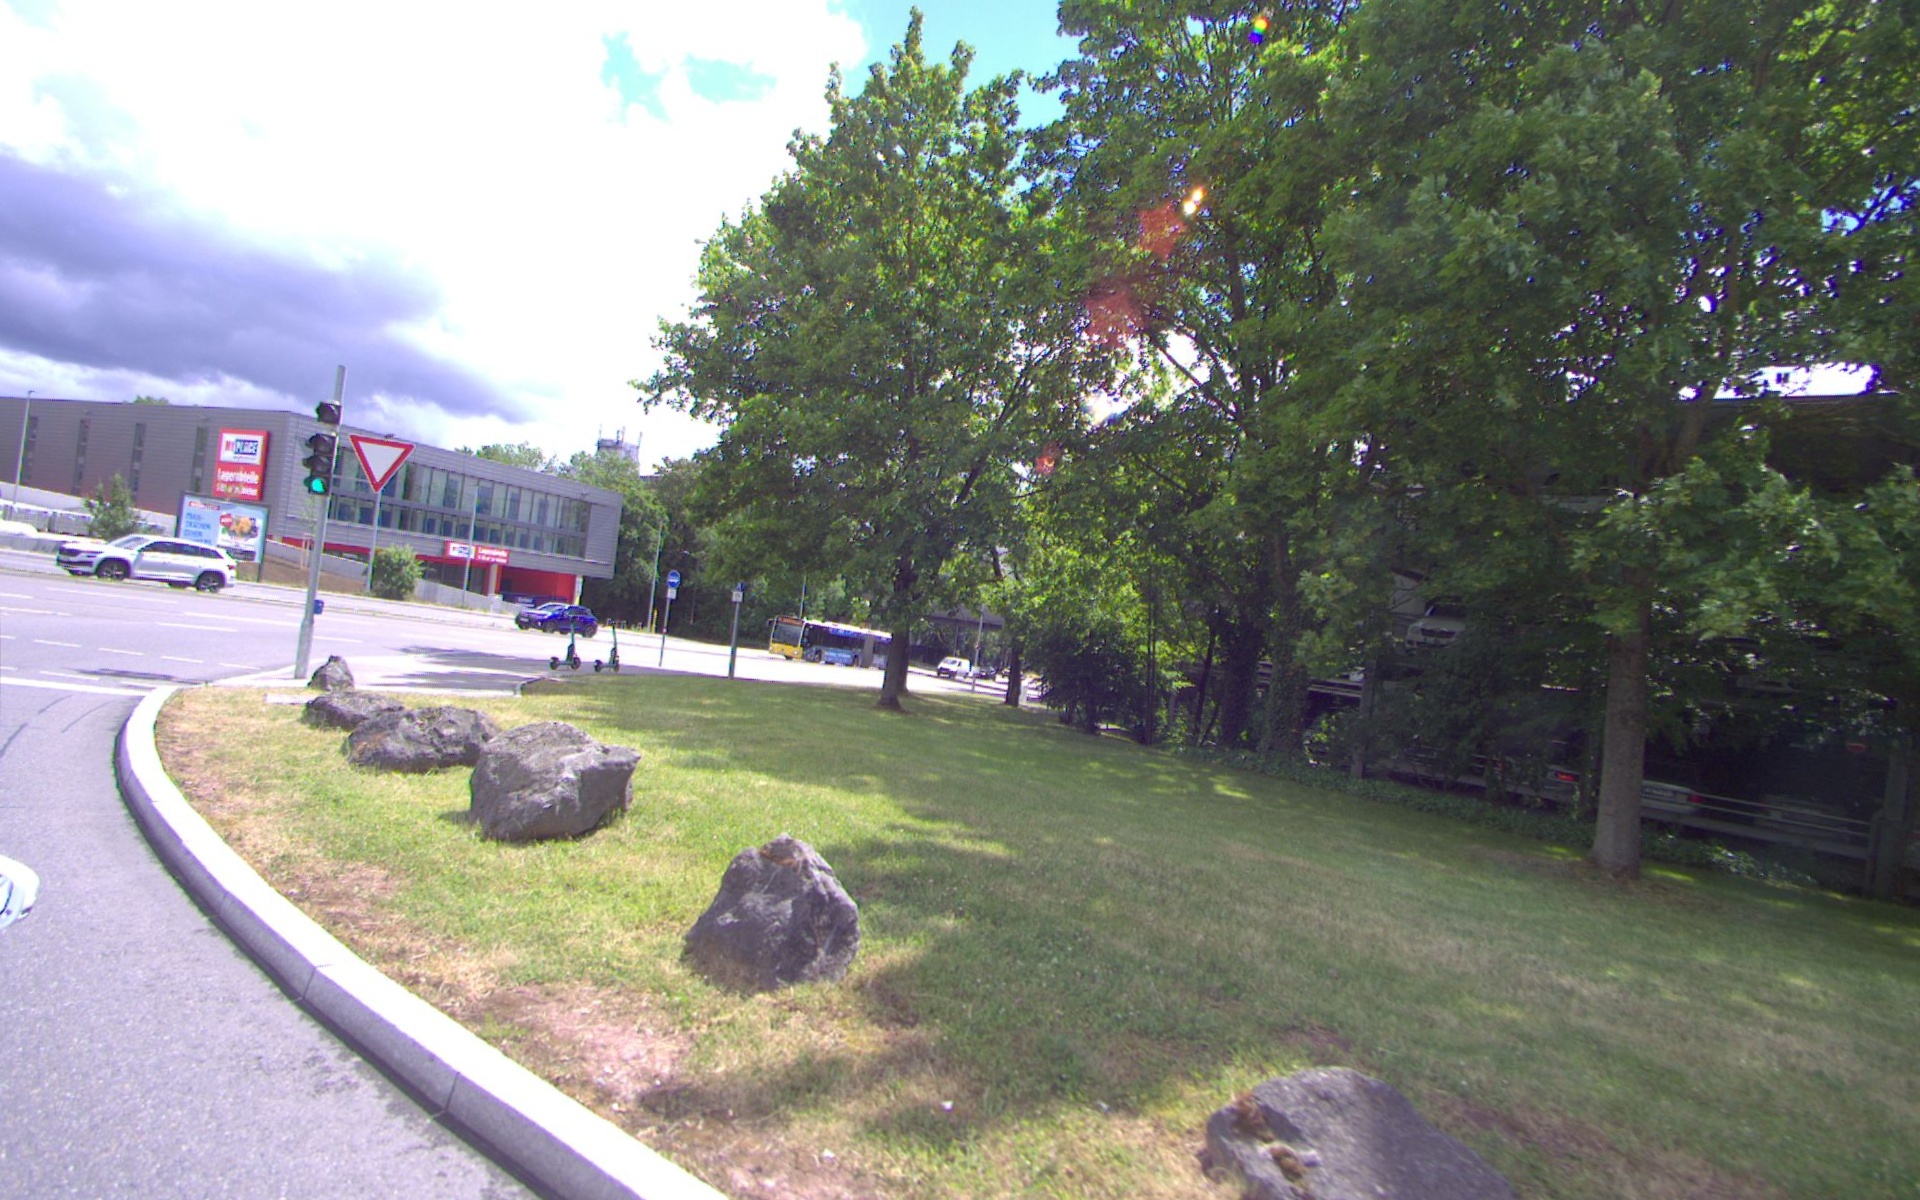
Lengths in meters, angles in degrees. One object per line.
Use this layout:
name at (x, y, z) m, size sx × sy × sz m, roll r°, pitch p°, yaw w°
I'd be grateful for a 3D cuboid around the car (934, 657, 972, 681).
car at (-0.661, 6.793, 98.973) m, size 1.849 × 1.945 × 4.756 m, roll 8°, pitch -3°, yaw 22°

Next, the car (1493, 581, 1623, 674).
car at (13.652, 0.662, 22.869) m, size 1.703 × 1.560 × 3.688 m, roll 10°, pitch 1°, yaw 42°

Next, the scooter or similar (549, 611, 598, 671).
scooter or similar at (-8.799, 0.951, 22.954) m, size 0.524 × 1.278 × 1.191 m, roll 7°, pitch -3°, yaw -1°

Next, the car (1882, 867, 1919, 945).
car at (25.670, 8.175, 26.604) m, size 1.616 × 1.388 × 3.766 m, roll 8°, pitch 0°, yaw 41°

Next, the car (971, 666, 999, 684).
car at (2.677, 8.029, 107.794) m, size 1.612 × 1.487 × 3.780 m, roll 8°, pitch -3°, yaw 22°

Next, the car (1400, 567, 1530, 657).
car at (12.178, 0.327, 24.146) m, size 1.703 × 1.560 × 3.688 m, roll 10°, pitch 1°, yaw 42°

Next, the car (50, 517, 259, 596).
car at (-25.728, -1.325, 32.387) m, size 1.701 × 1.676 × 4.908 m, roll 8°, pitch -3°, yaw 21°

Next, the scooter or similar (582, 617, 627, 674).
scooter or similar at (-8.567, 1.106, 24.270) m, size 0.524 × 1.278 × 1.191 m, roll 7°, pitch -3°, yaw -1°

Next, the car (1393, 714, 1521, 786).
car at (12.005, 3.582, 24.184) m, size 1.752 × 1.307 × 3.783 m, roll 8°, pitch -1°, yaw 41°

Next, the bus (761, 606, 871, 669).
bus at (-10.220, 2.862, 73.060) m, size 2.773 × 3.319 × 10.136 m, roll 8°, pitch -4°, yaw 22°

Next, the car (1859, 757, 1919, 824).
car at (25.741, 5.206, 27.466) m, size 1.572 × 1.388 × 3.766 m, roll 8°, pitch 0°, yaw 41°

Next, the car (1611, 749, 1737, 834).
car at (15.280, 3.996, 21.452) m, size 1.752 × 1.307 × 3.783 m, roll 8°, pitch -1°, yaw 41°

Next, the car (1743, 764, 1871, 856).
car at (17.462, 4.254, 20.781) m, size 1.752 × 1.307 × 3.783 m, roll 8°, pitch -1°, yaw 41°

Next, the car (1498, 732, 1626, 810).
car at (13.680, 3.804, 22.767) m, size 1.752 × 1.307 × 3.783 m, roll 8°, pitch -1°, yaw 41°

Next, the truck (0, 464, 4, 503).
truck at (-56.988, -6.906, 54.969) m, size 1.969 × 2.173 × 6.557 m, roll 8°, pitch 1°, yaw 36°

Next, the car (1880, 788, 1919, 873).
car at (18.532, 4.407, 18.764) m, size 1.752 × 1.307 × 3.783 m, roll 8°, pitch -1°, yaw 41°

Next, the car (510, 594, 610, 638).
car at (-19.287, 0.805, 48.740) m, size 1.778 × 1.527 × 4.402 m, roll 8°, pitch -3°, yaw 23°

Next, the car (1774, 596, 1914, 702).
car at (17.237, 1.000, 19.672) m, size 1.703 × 1.560 × 3.688 m, roll 10°, pitch 1°, yaw 42°

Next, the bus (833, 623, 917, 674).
bus at (-6.764, 4.047, 81.893) m, size 2.773 × 3.198 × 8.917 m, roll 8°, pitch -3°, yaw 22°
